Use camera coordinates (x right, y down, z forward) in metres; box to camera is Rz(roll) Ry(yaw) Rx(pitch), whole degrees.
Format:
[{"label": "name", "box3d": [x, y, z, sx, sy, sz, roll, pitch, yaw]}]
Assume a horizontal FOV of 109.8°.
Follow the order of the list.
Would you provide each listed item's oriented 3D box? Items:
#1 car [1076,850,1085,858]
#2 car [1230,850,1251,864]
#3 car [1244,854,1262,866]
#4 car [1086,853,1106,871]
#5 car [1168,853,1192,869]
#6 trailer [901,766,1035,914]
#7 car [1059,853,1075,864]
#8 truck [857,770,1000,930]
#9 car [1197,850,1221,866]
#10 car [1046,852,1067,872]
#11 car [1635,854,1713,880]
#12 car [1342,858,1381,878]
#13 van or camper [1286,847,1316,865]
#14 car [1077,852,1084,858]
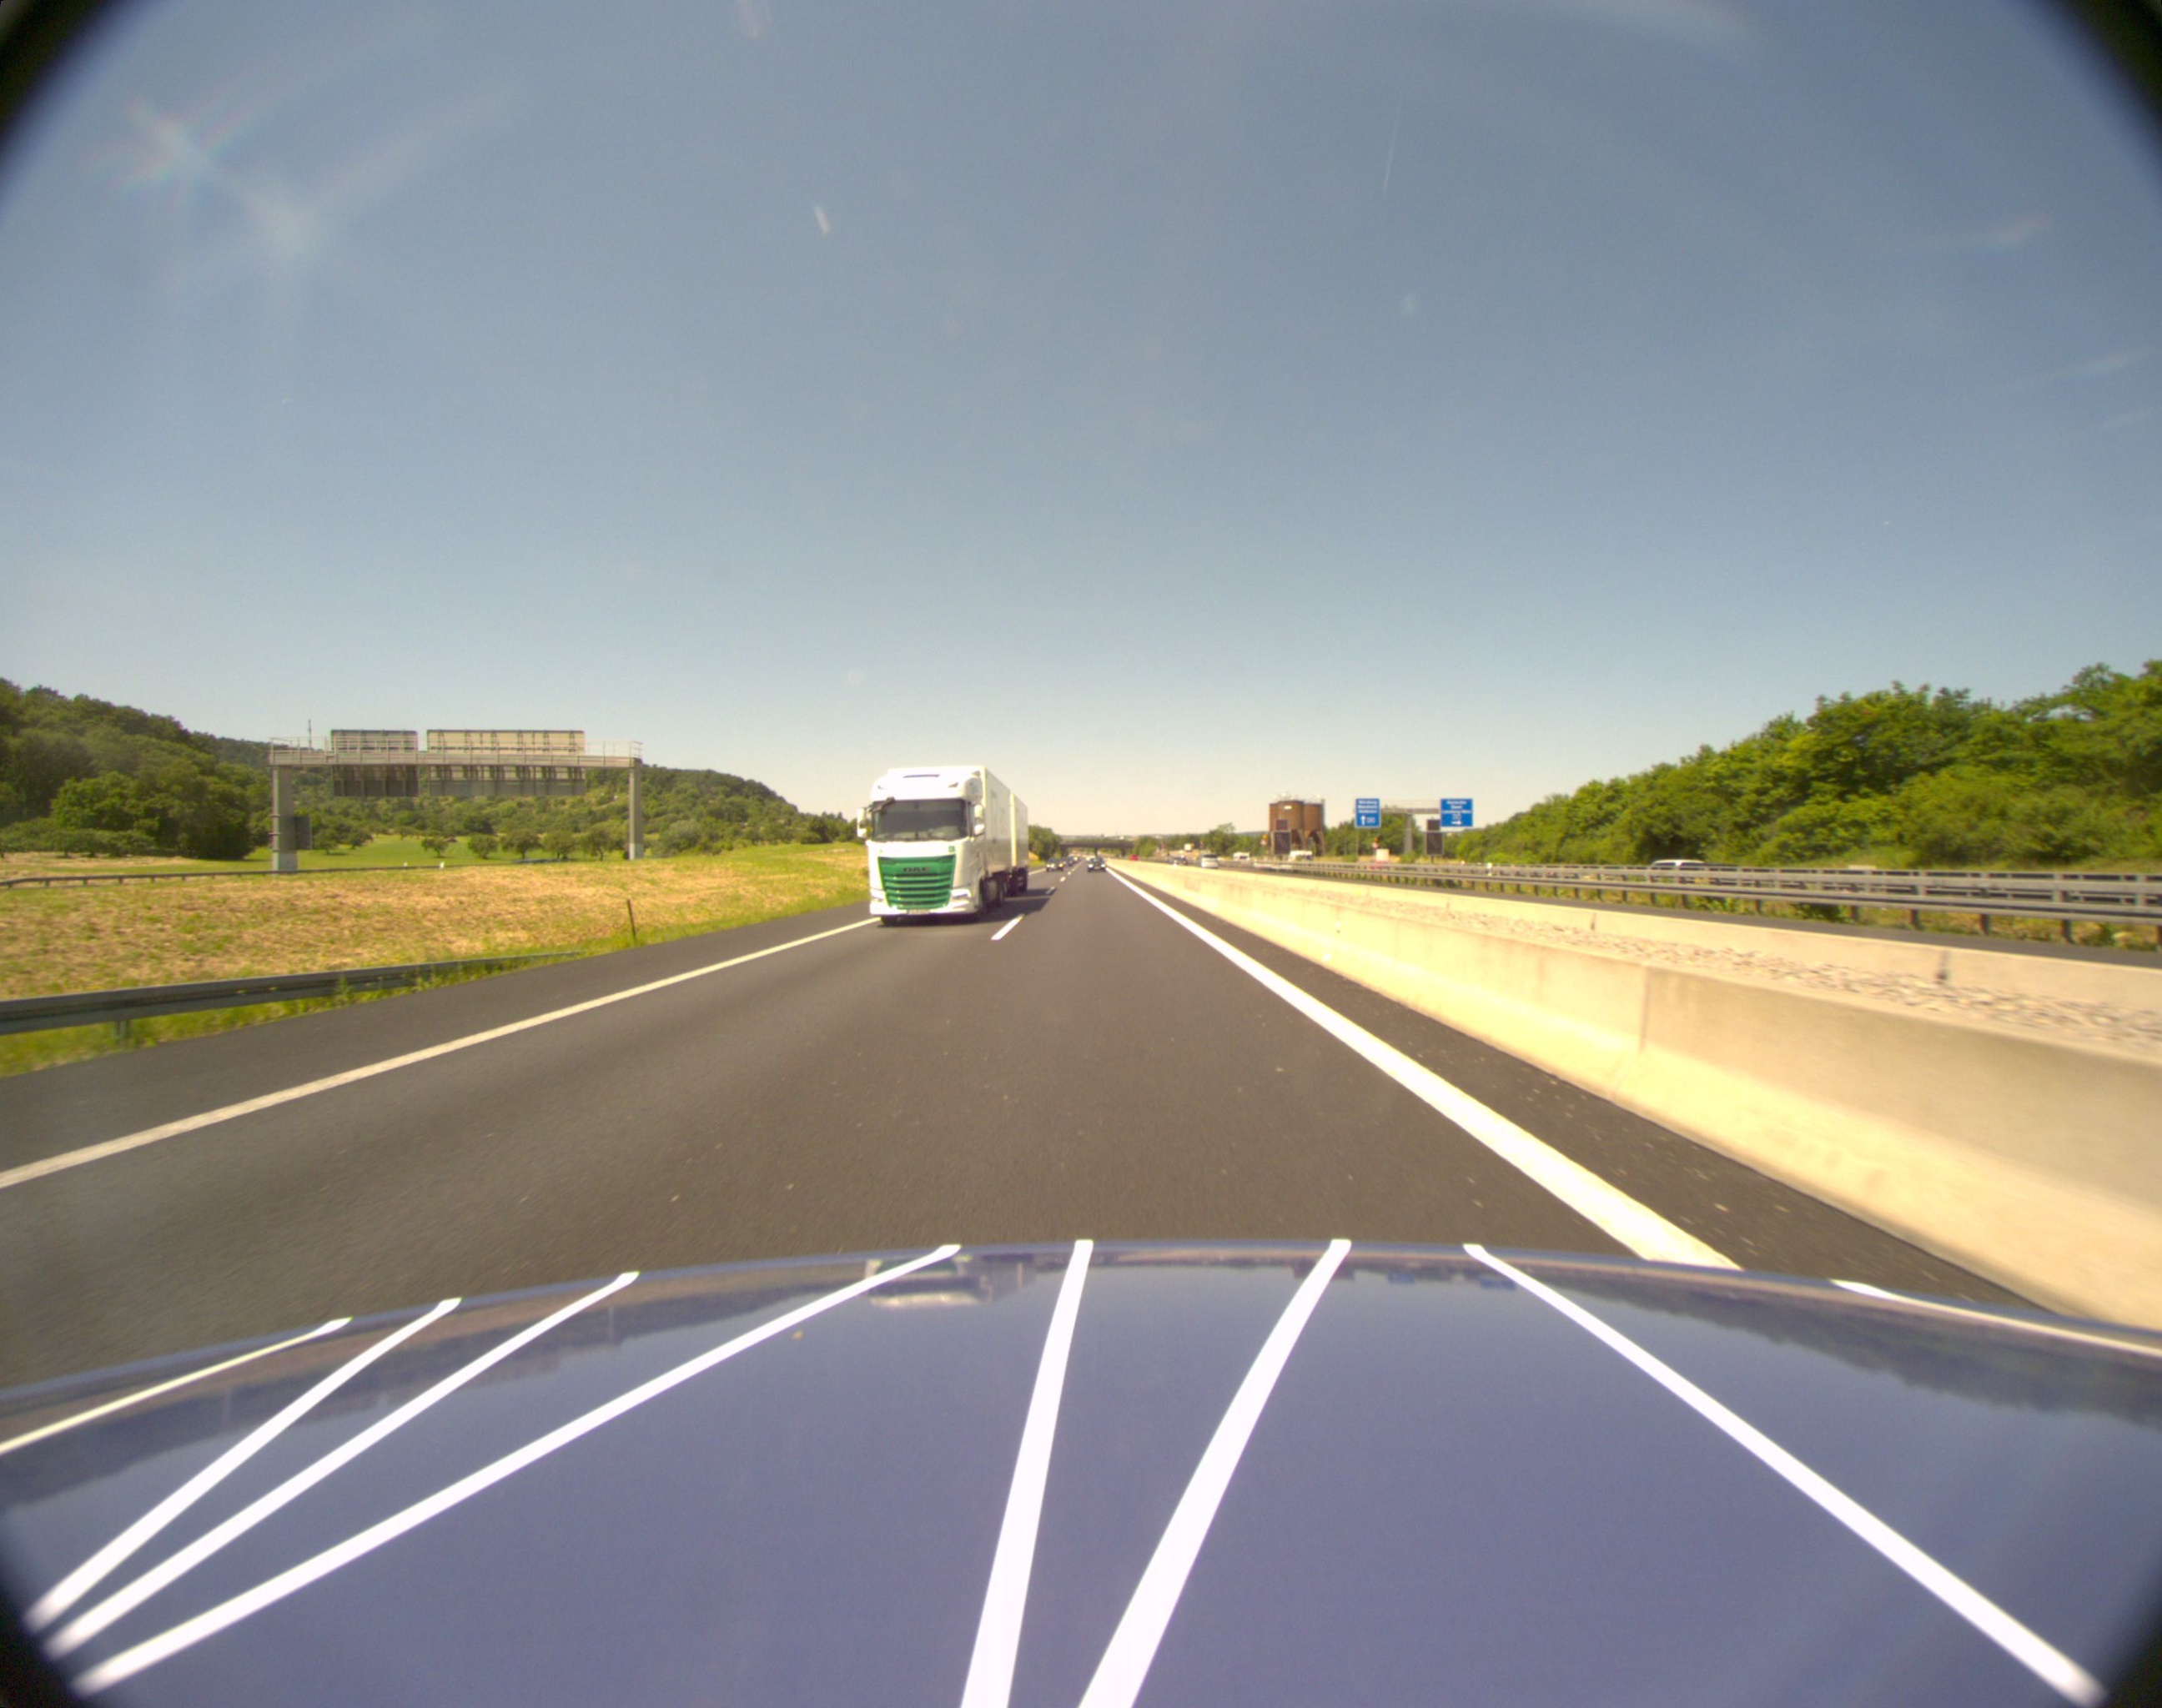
[{"label": "car", "box3d": [-0.070, -0.017, 175.503, 1.998, 1.574, 4.000, -3, 0, 2]}, {"label": "car", "box3d": [29.893, 0.521, 142.911, 2.803, 2.487, 5.963, 1, 0, 1]}, {"label": "car", "box3d": [26.513, 0.947, 117.274, 1.799, 1.718, 4.452, -2, 1, 0]}, {"label": "car", "box3d": [1.375, 0.743, 72.802, 1.799, 1.574, 3.999, -2, 1, 0]}, {"label": "car", "box3d": [10.181, 0.713, 78.291, 1.799, 1.586, 4.307, -1, 0, -1]}, {"label": "trailer", "box3d": [-3.703, -0.447, 29.316, 2.663, 4.164, 14.893, -2, 0, 0]}, {"label": "car", "box3d": [-2.059, 0.664, 113.603, 1.998, 1.574, 4.000, -3, 0, 2]}, {"label": "truck", "box3d": [-3.735, -0.109, 19.646, 2.649, 3.572, 4.403, -2, 1, 0]}, {"label": "car", "box3d": [14.612, 0.443, 86.999, 1.998, 1.831, 5.084, 1, 0, 1]}, {"label": "car", "box3d": [-2.609, 0.813, 82.234, 1.998, 2.002, 3.999, -2, 1, 1]}, {"label": "car", "box3d": [41.104, 0.843, 52.822, 1.997, 1.568, 4.994, -2, 1, 7]}, {"label": "car", "box3d": [24.363, 1.189, 66.097, 1.998, 1.568, 4.000, -2, 1, 2]}, {"label": "van or camper", "box3d": [29.658, 0.253, 102.614, 2.112, 2.242, 6.966, -2, 1, 1]}, {"label": "car", "box3d": [-0.141, 0.216, 256.436, 1.998, 2.002, 4.000, -1, 0, 1]}]
